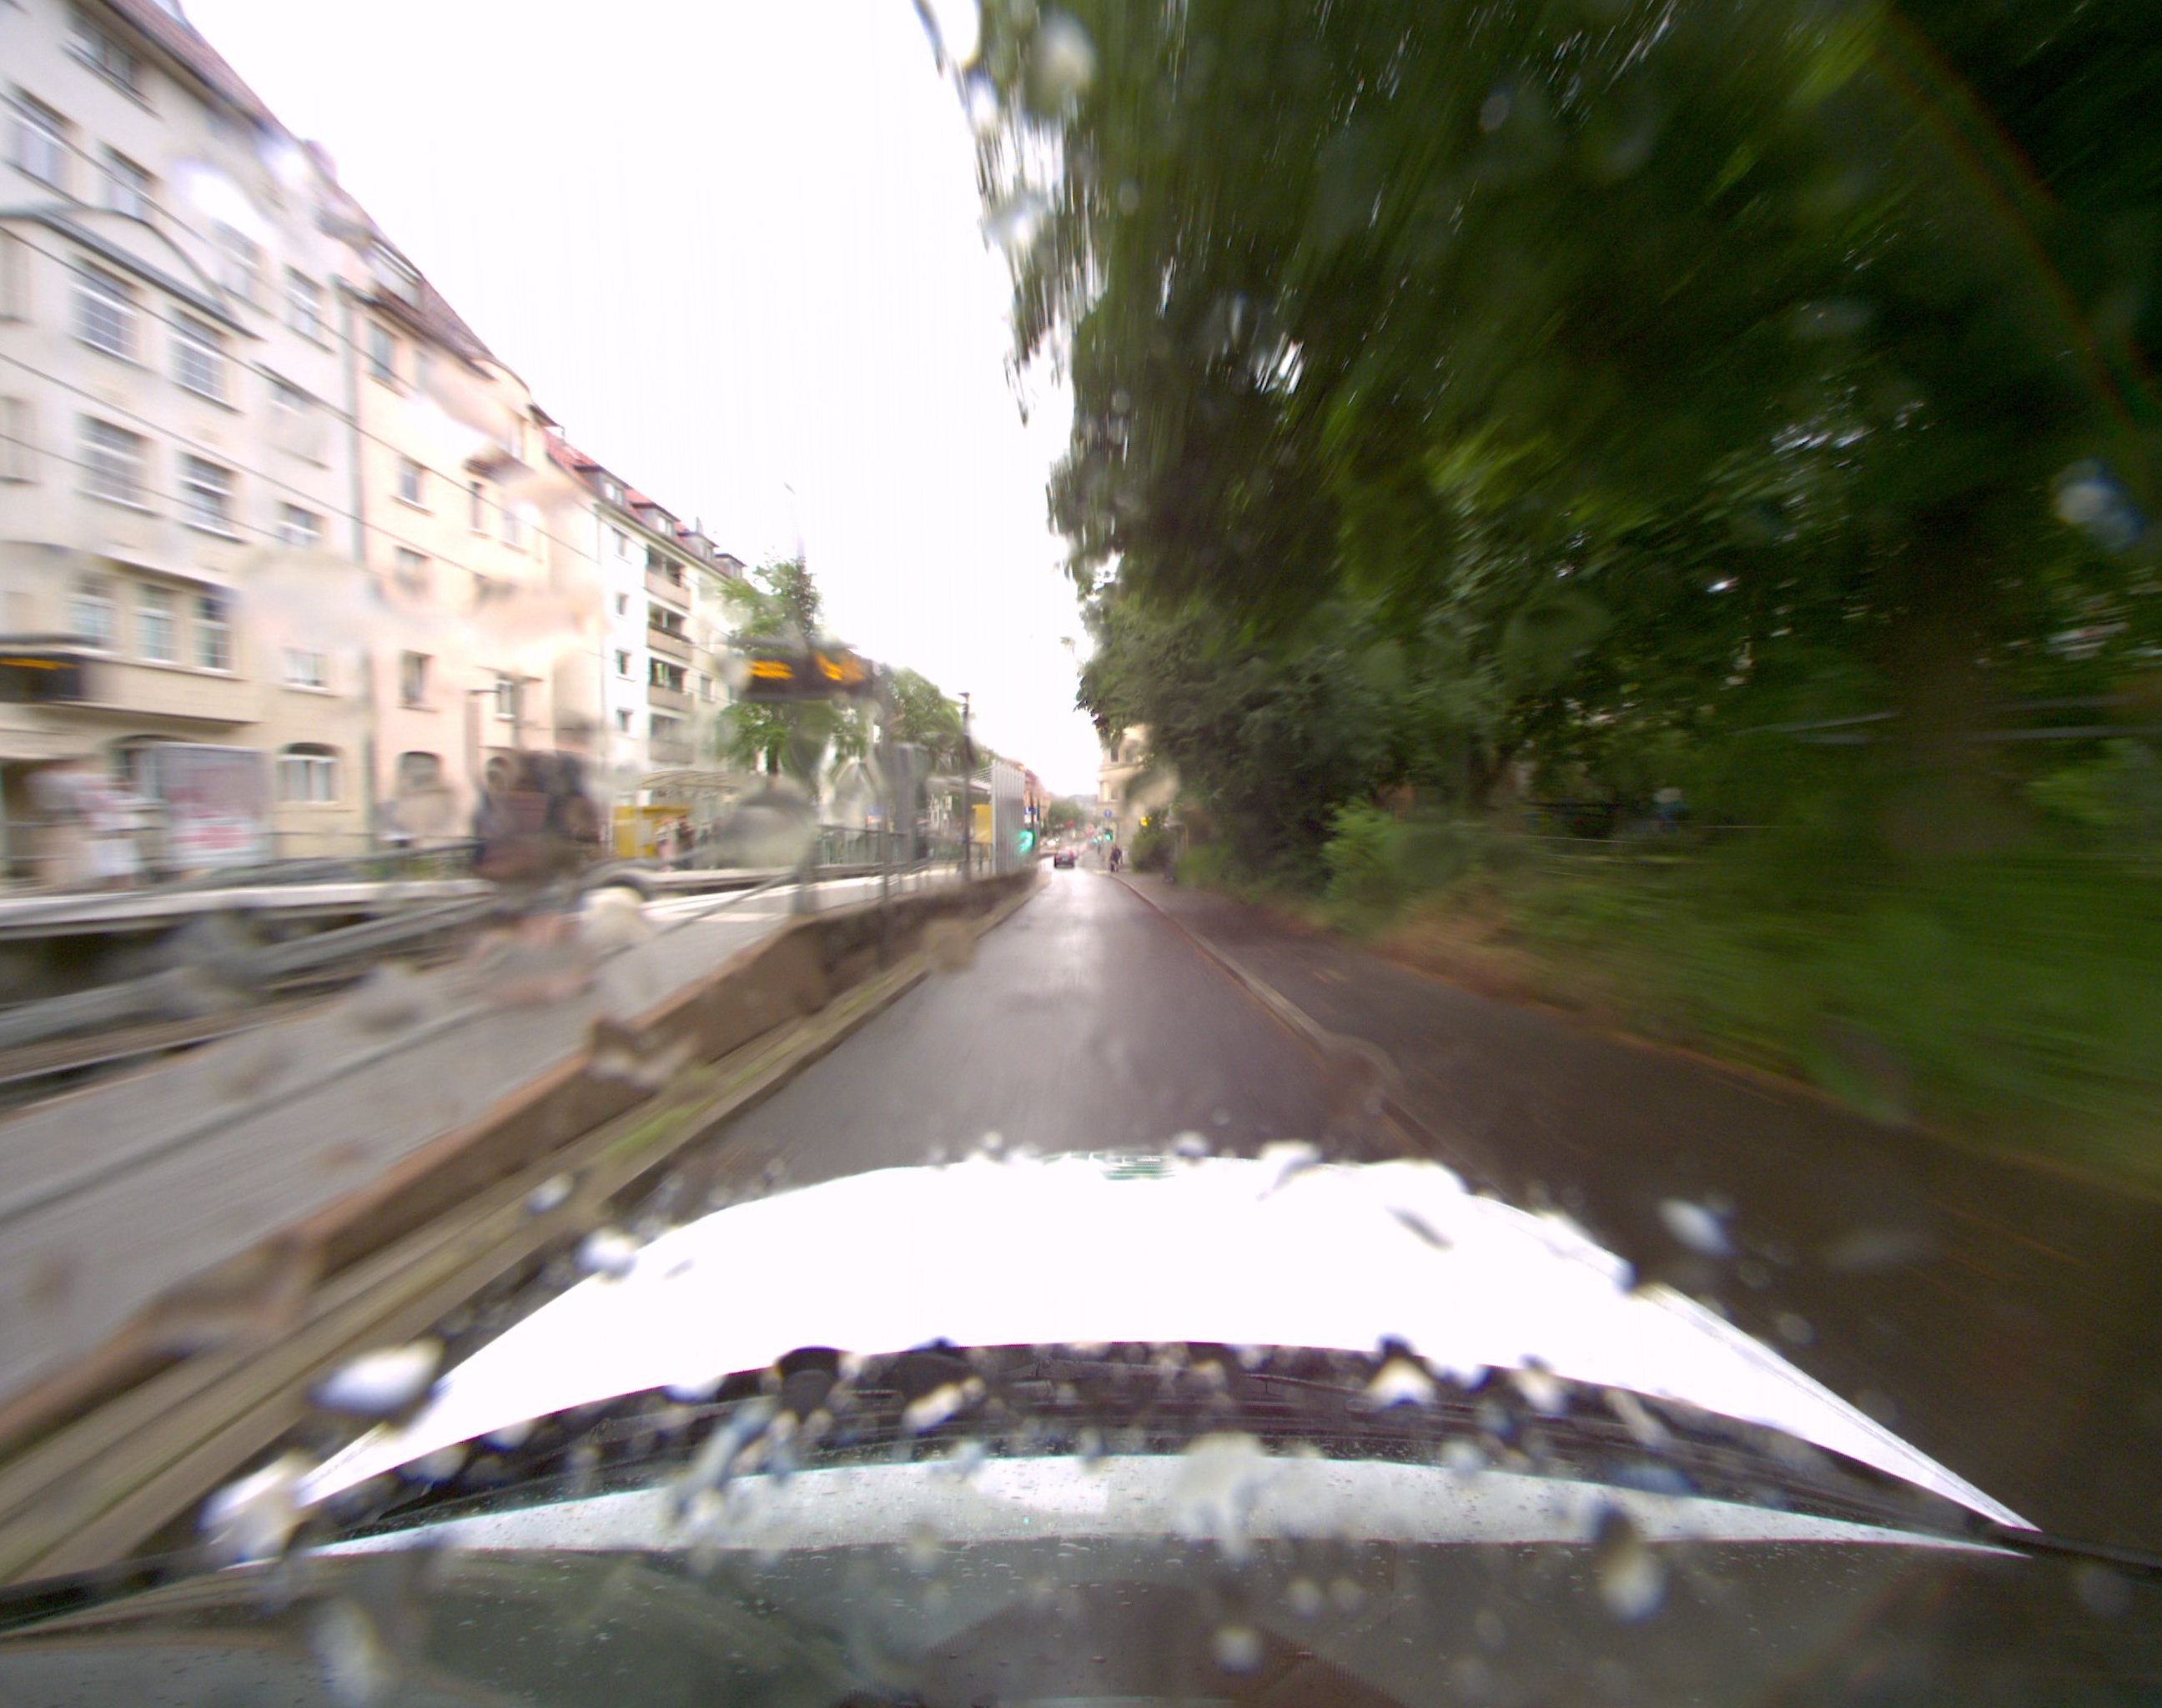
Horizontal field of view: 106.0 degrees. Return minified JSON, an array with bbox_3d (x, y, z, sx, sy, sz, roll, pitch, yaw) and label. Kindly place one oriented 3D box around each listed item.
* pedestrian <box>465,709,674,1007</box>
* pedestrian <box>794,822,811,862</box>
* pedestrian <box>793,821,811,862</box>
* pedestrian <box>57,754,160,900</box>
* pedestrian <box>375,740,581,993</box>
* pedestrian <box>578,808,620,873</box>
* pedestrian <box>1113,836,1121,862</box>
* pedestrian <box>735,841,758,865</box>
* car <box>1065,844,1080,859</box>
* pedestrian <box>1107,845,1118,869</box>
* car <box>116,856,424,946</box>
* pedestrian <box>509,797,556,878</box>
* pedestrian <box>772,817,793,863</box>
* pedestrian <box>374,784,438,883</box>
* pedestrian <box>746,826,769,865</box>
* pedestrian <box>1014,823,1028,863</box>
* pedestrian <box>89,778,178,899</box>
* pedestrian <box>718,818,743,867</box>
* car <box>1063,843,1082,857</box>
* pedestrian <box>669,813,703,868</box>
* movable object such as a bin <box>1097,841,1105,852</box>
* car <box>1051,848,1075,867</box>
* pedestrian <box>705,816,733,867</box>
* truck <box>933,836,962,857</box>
[{"bbox_3d":[-3.239,-0.011,5.267,0.648,1.782,0.848,-1,7,1],"label":"pedestrian"},{"bbox_3d":[-12.277,-0.527,35.922,0.481,1.741,0.563,-2,0,0],"label":"pedestrian"},{"bbox_3d":[-12.105,-0.532,35.332,0.481,1.741,0.563,-2,0,0],"label":"pedestrian"},{"bbox_3d":[-12.746,-0.345,10.692,0.559,1.850,0.599,-2,0,0],"label":"pedestrian"},{"bbox_3d":[-3.905,0.050,5.351,0.648,1.560,0.685,-1,9,1],"label":"pedestrian"},{"bbox_3d":[-12.814,-0.352,21.647,0.592,1.666,0.762,-2,0,1],"label":"pedestrian"},{"bbox_3d":[2.527,-0.320,57.009,0.552,1.813,0.650,0,0,-2],"label":"pedestrian"},{"bbox_3d":[-12.199,-0.035,29.704,0.548,0.872,0.614,-2,0,0],"label":"pedestrian"},{"bbox_3d":[-1.098,-0.316,103.210,1.943,1.793,4.142,0,0,-1],"label":"car"},{"bbox_3d":[2.198,0.202,56.371,0.693,1.695,0.555,0,0,-3],"label":"pedestrian"},{"bbox_3d":[-17.998,0.943,18.521,1.985,1.732,4.818,-2,0,3],"label":"car"},{"bbox_3d":[-12.868,-0.388,19.110,0.514,1.838,0.762,-2,0,1],"label":"pedestrian"},{"bbox_3d":[-11.668,-0.544,31.854,0.548,1.741,0.614,-2,0,0],"label":"pedestrian"},{"bbox_3d":[-12.888,-0.381,15.569,0.514,1.838,0.762,-2,0,1],"label":"pedestrian"},{"bbox_3d":[-12.161,-0.309,30.603,0.548,1.413,0.614,-2,0,0],"label":"pedestrian"},{"bbox_3d":[-2.724,-0.503,37.022,0.587,1.807,0.660,1,0,-1],"label":"pedestrian"},{"bbox_3d":[-13.091,-0.211,11.269,0.514,1.605,0.563,-2,0,0],"label":"pedestrian"},{"bbox_3d":[-12.273,-0.407,28.548,0.548,1.666,0.614,-2,0,0],"label":"pedestrian"},{"bbox_3d":[-0.863,-0.410,84.052,1.846,1.473,3.999,0,0,-1],"label":"car"},{"bbox_3d":[-12.161,-0.405,25.070,0.592,1.666,0.762,-2,0,1],"label":"pedestrian"},{"bbox_3d":[3.147,-1.200,128.261,1.165,1.655,1.308,-2,1,-3],"label":"movable object such as a bin"},{"bbox_3d":[-1.455,0.271,66.713,1.846,1.473,3.999,-1,1,0],"label":"car"},{"bbox_3d":[-12.186,-0.408,27.420,0.592,1.666,0.591,-2,0,0],"label":"pedestrian"},{"bbox_3d":[-16.119,-0.916,98.683,2.042,2.393,6.328,-1,0,4],"label":"truck"}]
